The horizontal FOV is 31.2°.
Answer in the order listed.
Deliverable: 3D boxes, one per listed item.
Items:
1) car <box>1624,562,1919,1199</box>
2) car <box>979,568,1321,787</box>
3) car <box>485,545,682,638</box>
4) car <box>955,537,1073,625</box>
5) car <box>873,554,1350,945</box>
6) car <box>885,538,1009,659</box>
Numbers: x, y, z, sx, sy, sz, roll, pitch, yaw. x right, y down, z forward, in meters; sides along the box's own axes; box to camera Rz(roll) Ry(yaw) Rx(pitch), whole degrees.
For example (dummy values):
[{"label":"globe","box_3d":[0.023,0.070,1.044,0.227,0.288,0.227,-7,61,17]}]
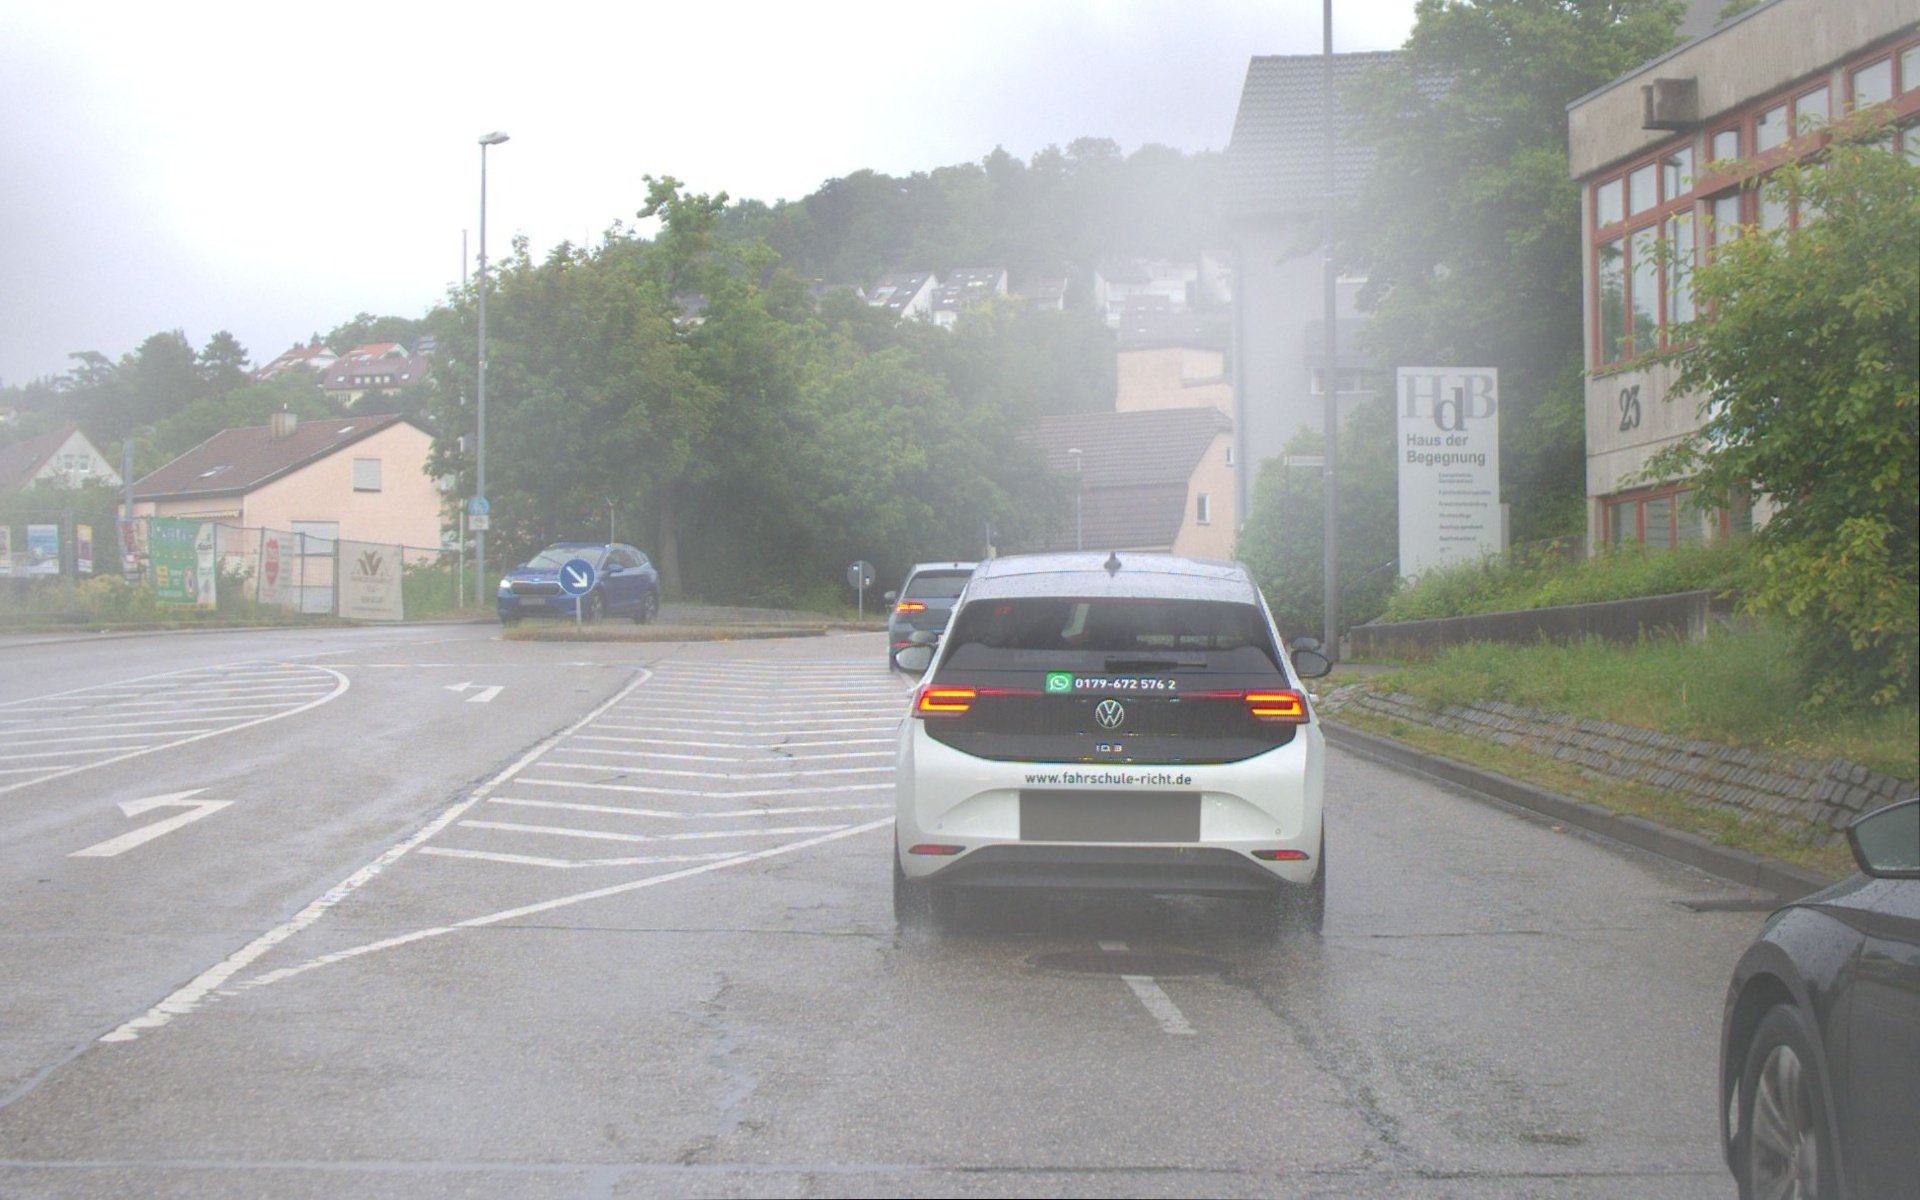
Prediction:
[{"label":"car","box_3d":[2.535,0.728,5.035,1.954,1.502,4.609,2,0,-3]},{"label":"car","box_3d":[1.246,0.505,24.372,1.848,1.405,4.302,0,0,-5]},{"label":"car","box_3d":[-7.124,-0.138,65.551,1.995,1.687,4.701,1,0,17]},{"label":"car","box_3d":[0.994,-0.330,61.560,1.993,1.448,3.770,-2,0,2]},{"label":"car","box_3d":[0.646,0.578,15.326,1.829,1.495,4.168,0,0,2]},{"label":"car","box_3d":[-0.188,-0.051,45.521,1.567,1.525,4.000,0,1,-1]}]
